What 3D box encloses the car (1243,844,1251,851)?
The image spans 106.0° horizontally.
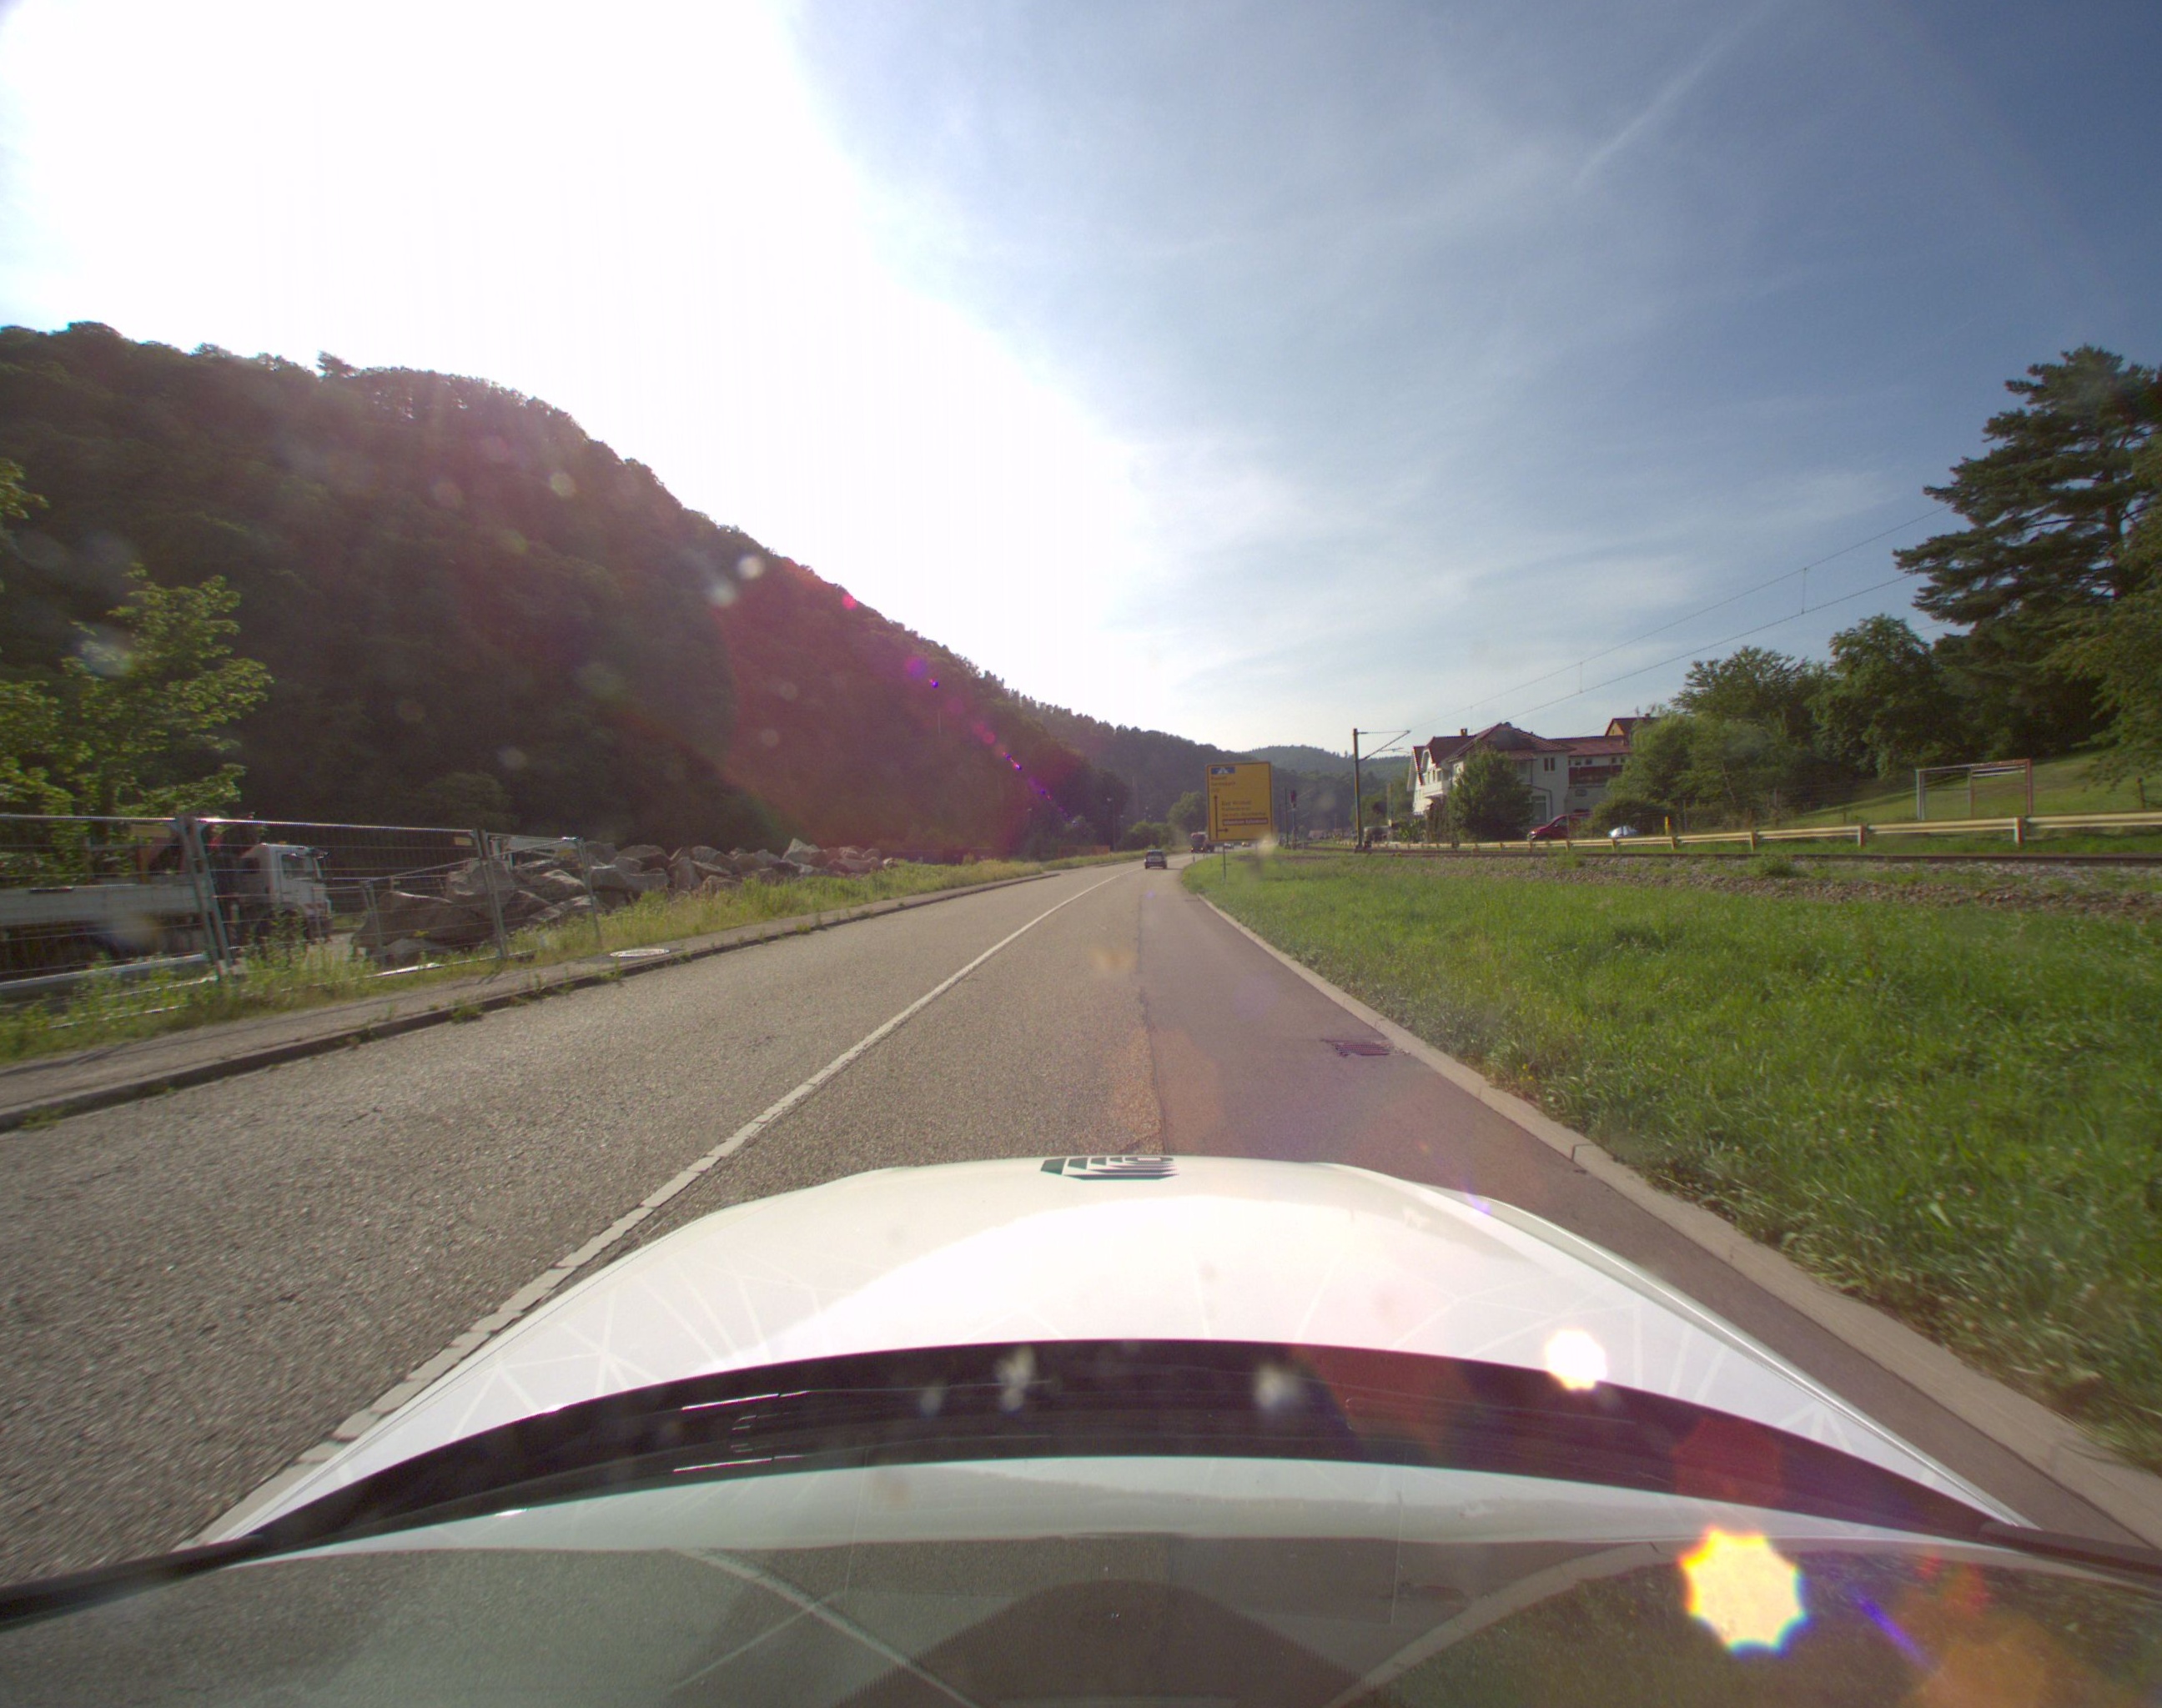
[{"bbox_3d":[41.188,-1.708,202.340,1.711,1.624,3.812,0,1,15],"label":"car"}]

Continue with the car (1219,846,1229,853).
[{"bbox_3d":[32.344,-1.030,184.279,1.980,1.758,4.485,0,1,12],"label":"car"}]

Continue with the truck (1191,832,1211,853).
[{"bbox_3d":[23.866,-2.316,161.019,2.731,3.835,14.614,-1,1,13],"label":"truck"}]

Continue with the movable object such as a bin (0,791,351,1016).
[{"bbox_3d":[-20.353,0.964,17.435,2.713,3.947,7.227,-4,0,-1],"label":"movable object such as a bin"}]

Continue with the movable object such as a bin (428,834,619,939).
[{"bbox_3d":[-24.214,1.300,36.056,2.889,3.947,7.806,-4,0,-1],"label":"movable object such as a bin"}]

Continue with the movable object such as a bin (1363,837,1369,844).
[{"bbox_3d":[42.916,-2.090,122.604,0.801,1.050,0.916,0,1,16],"label":"movable object such as a bin"}]

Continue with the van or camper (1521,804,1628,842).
[{"bbox_3d":[31.561,-1.950,52.230,5.380,1.929,2.128,-4,0,12],"label":"van or camper"}]

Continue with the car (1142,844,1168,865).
[{"bbox_3d":[6.542,0.030,71.430,1.983,1.723,3.998,-4,0,7],"label":"car"}]

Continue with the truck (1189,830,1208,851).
[{"bbox_3d":[22.259,-2.592,154.332,2.730,3.835,8.229,-1,1,14],"label":"truck"}]
